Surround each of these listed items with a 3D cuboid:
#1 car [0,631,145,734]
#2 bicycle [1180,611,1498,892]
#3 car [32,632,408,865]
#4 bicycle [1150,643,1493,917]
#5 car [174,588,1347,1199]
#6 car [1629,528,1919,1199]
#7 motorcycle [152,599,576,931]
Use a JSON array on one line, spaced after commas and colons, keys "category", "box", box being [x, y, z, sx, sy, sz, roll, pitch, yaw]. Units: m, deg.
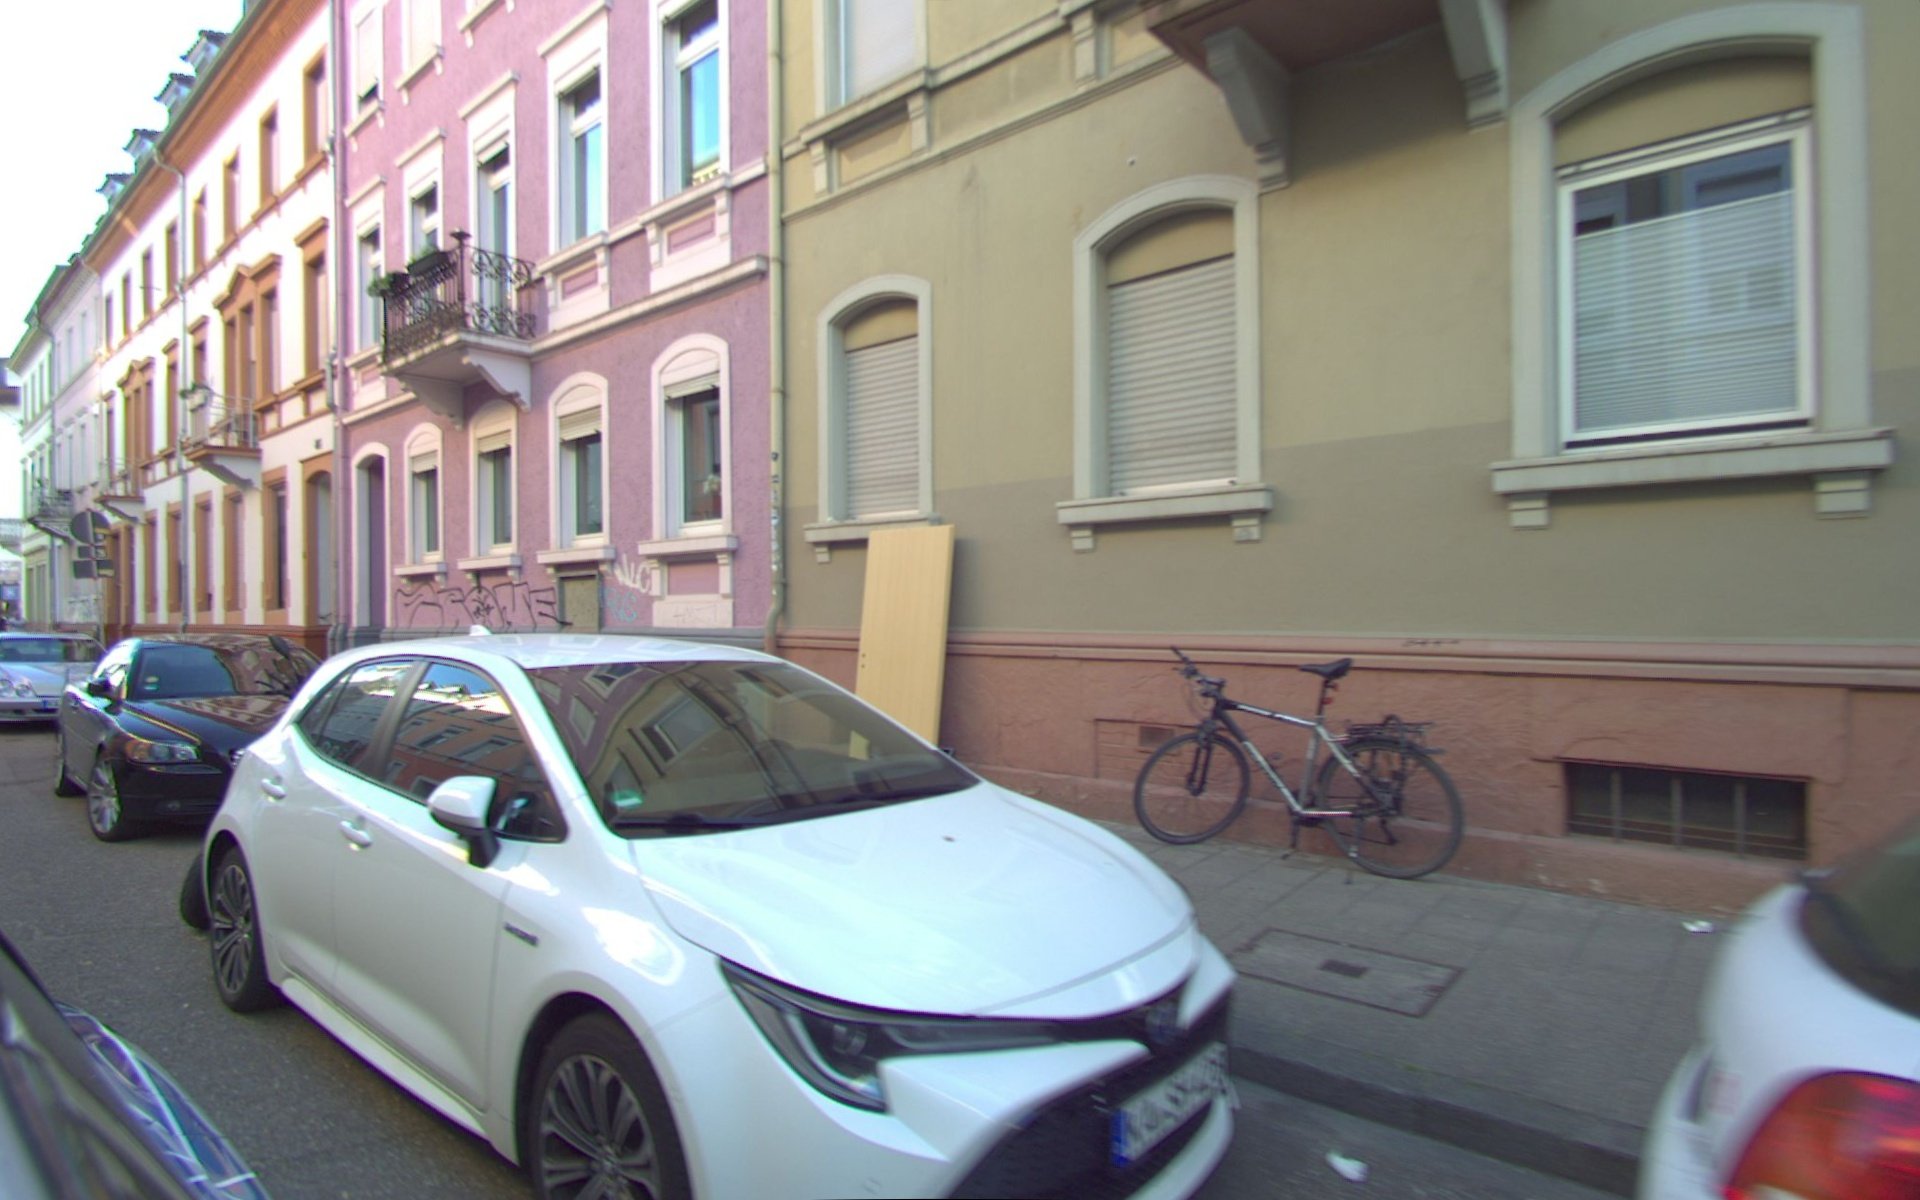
[{"category": "car", "box": [-13.877, 1.144, 15.220, 4.378, 1.353, 1.748, -1, -3, 41]}, {"category": "bicycle", "box": [1.894, 0.701, 5.213, 1.494, 1.269, 0.315, -1, 0, 41]}, {"category": "car", "box": [-6.192, 0.969, 8.256, 4.303, 1.401, 1.707, -2, -3, 43]}, {"category": "bicycle", "box": [1.687, 0.781, 4.884, 1.494, 1.110, 0.413, -1, 0, 41]}, {"category": "car", "box": [-1.087, 0.776, 3.512, 4.197, 1.473, 1.769, -1, -2, 40]}, {"category": "car", "box": [2.795, 0.639, 0.422, 3.998, 1.463, 1.771, -1, -2, 41]}, {"category": "motorcycle", "box": [-3.209, 0.769, 5.719, 0.818, 1.490, 1.954, -2, 0, 21]}]
